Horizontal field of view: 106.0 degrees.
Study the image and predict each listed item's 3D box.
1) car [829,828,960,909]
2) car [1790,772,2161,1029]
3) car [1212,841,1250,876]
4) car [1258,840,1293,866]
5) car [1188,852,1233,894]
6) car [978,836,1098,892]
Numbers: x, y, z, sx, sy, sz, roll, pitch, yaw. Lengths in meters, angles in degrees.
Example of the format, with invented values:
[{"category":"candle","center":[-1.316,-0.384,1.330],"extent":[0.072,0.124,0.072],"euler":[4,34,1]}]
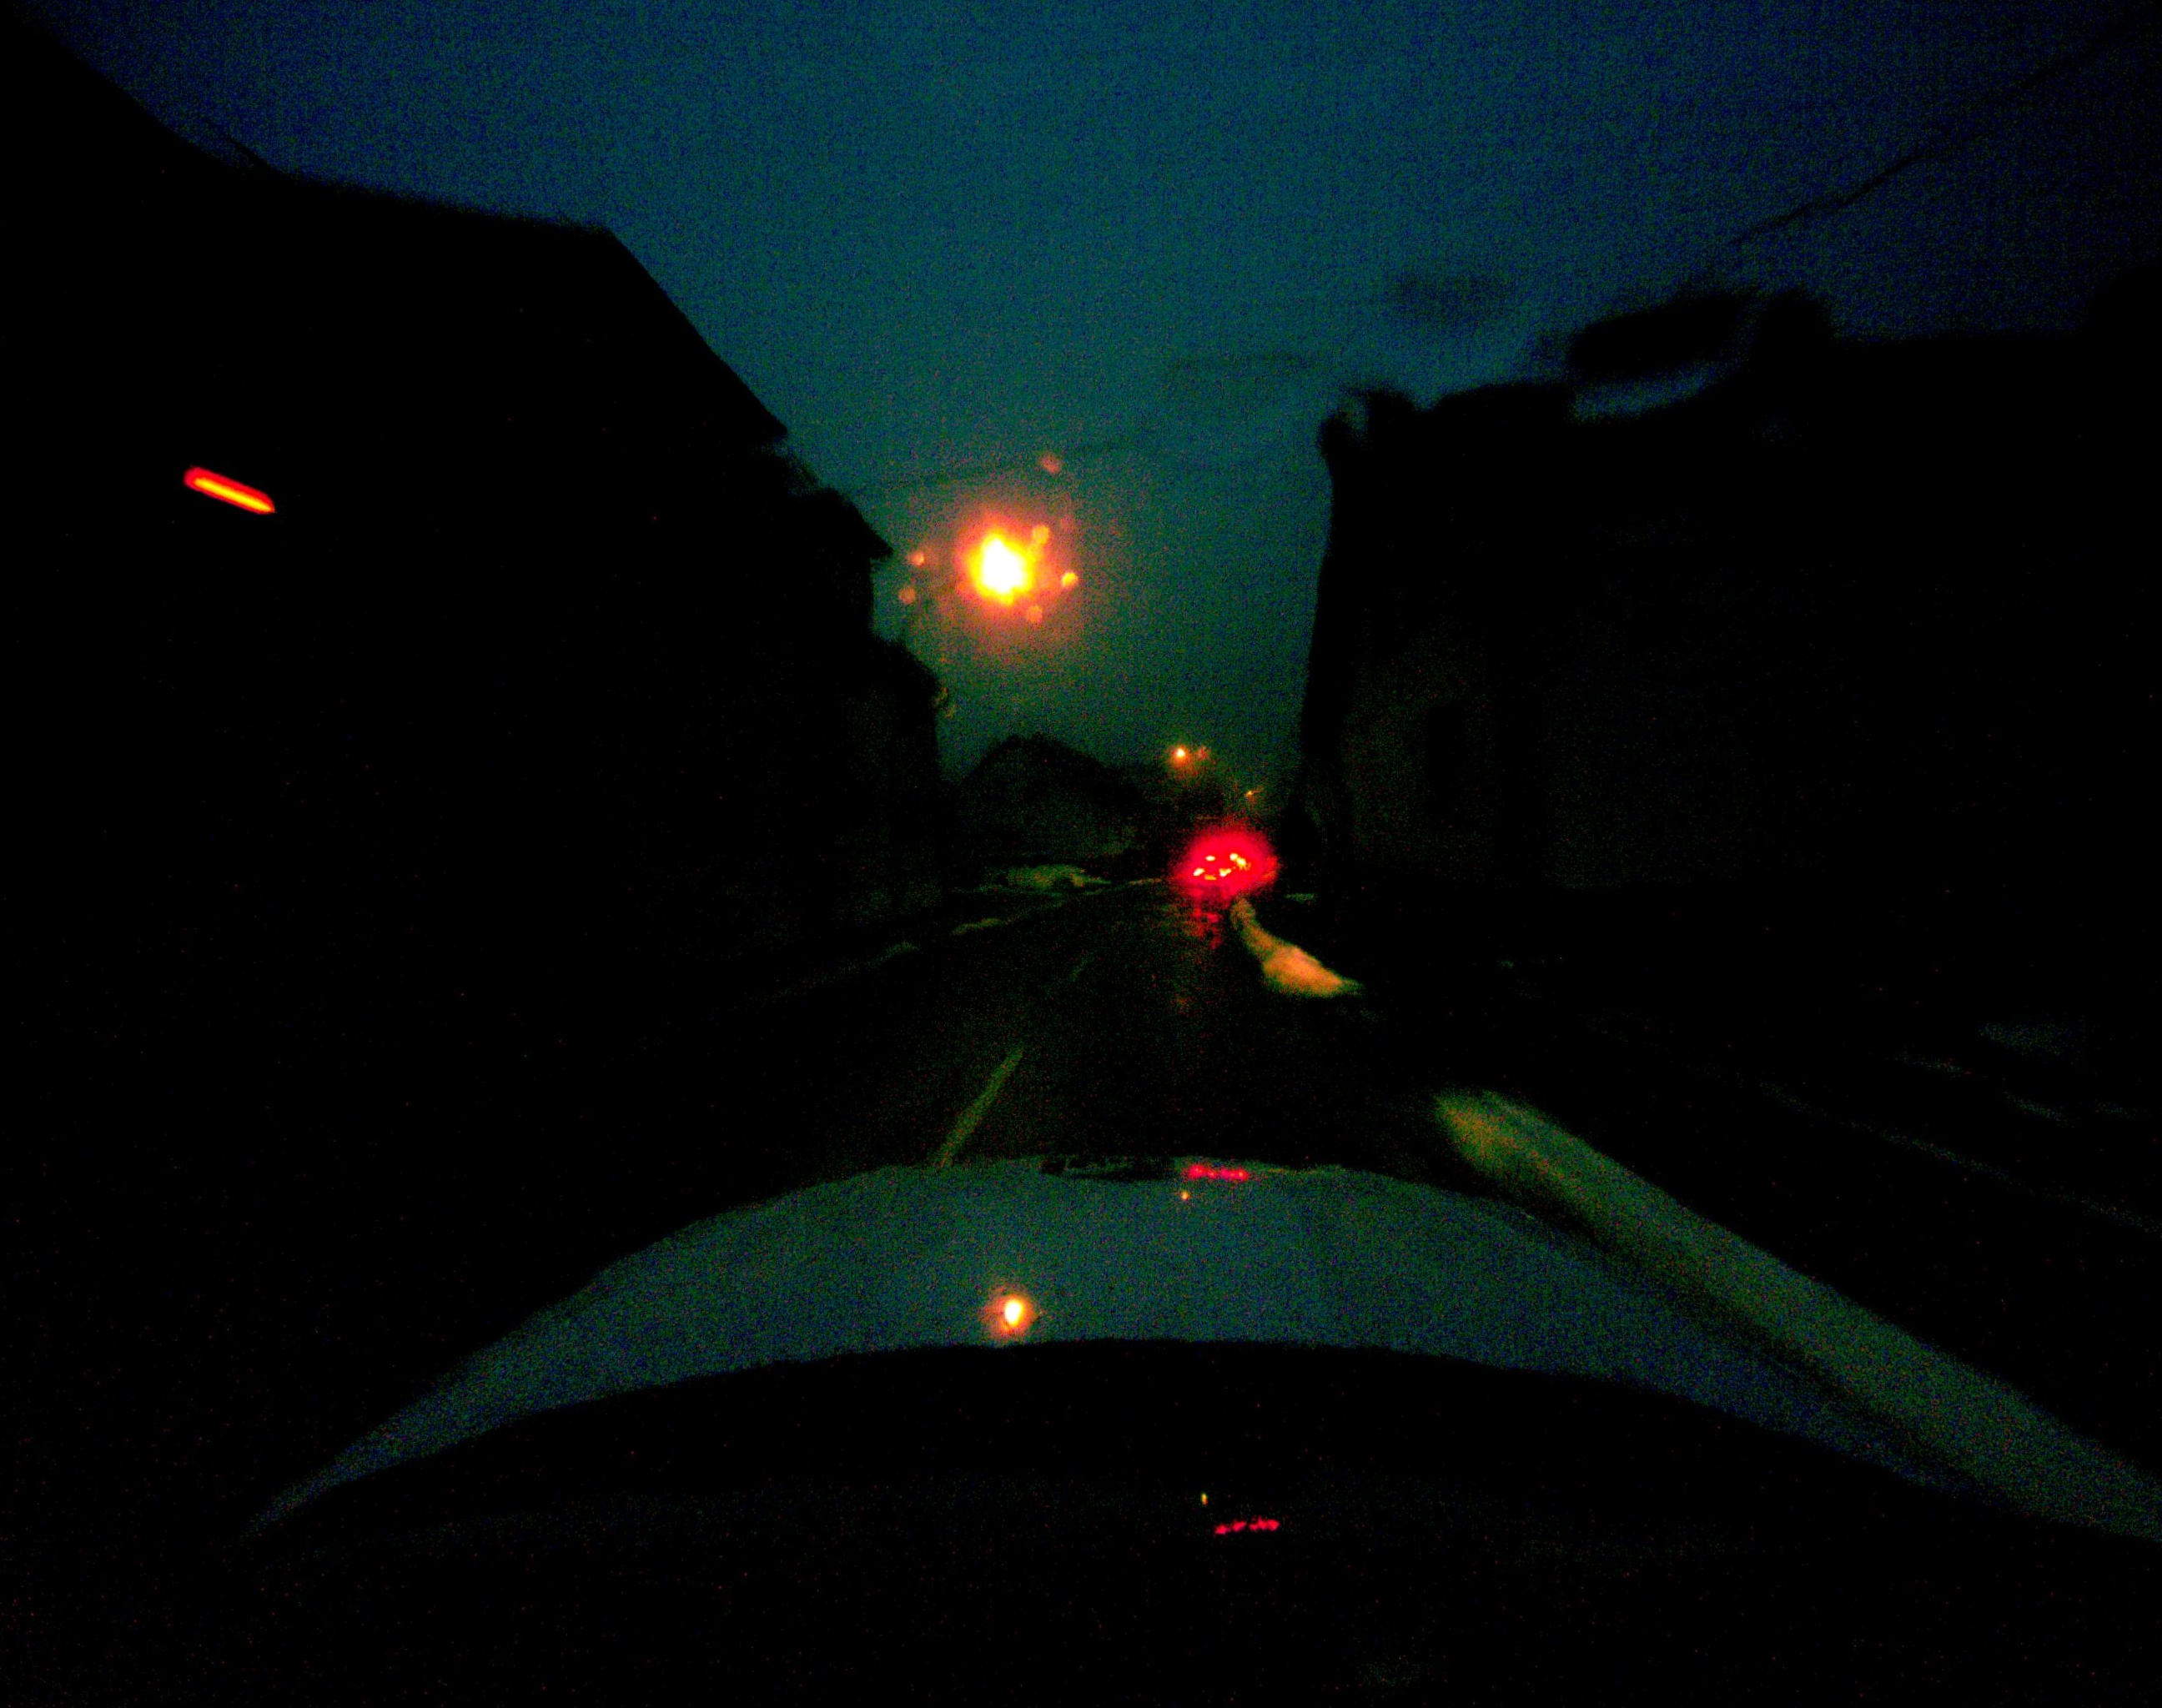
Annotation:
[{"category":"car","center":[-6.323,0.435,27.846],"extent":[3.992,2.276,1.992],"euler":[-6,3,-13]},{"category":"car","center":[7.475,0.184,5.420],"extent":[3.971,1.452,1.716],"euler":[-1,3,2]},{"category":"car","center":[10.074,0.279,54.525],"extent":[1.978,1.837,4.019],"euler":[-5,3,16]},{"category":"car","center":[16.026,-0.124,67.040],"extent":[2.232,1.639,4.875],"euler":[-4,3,19]},{"category":"car","center":[6.387,0.885,39.919],"extent":[1.981,1.507,4.013],"euler":[-5,3,11]},{"category":"car","center":[-1.871,0.432,36.025],"extent":[4.694,2.013,2.010],"euler":[-4,3,18]}]
